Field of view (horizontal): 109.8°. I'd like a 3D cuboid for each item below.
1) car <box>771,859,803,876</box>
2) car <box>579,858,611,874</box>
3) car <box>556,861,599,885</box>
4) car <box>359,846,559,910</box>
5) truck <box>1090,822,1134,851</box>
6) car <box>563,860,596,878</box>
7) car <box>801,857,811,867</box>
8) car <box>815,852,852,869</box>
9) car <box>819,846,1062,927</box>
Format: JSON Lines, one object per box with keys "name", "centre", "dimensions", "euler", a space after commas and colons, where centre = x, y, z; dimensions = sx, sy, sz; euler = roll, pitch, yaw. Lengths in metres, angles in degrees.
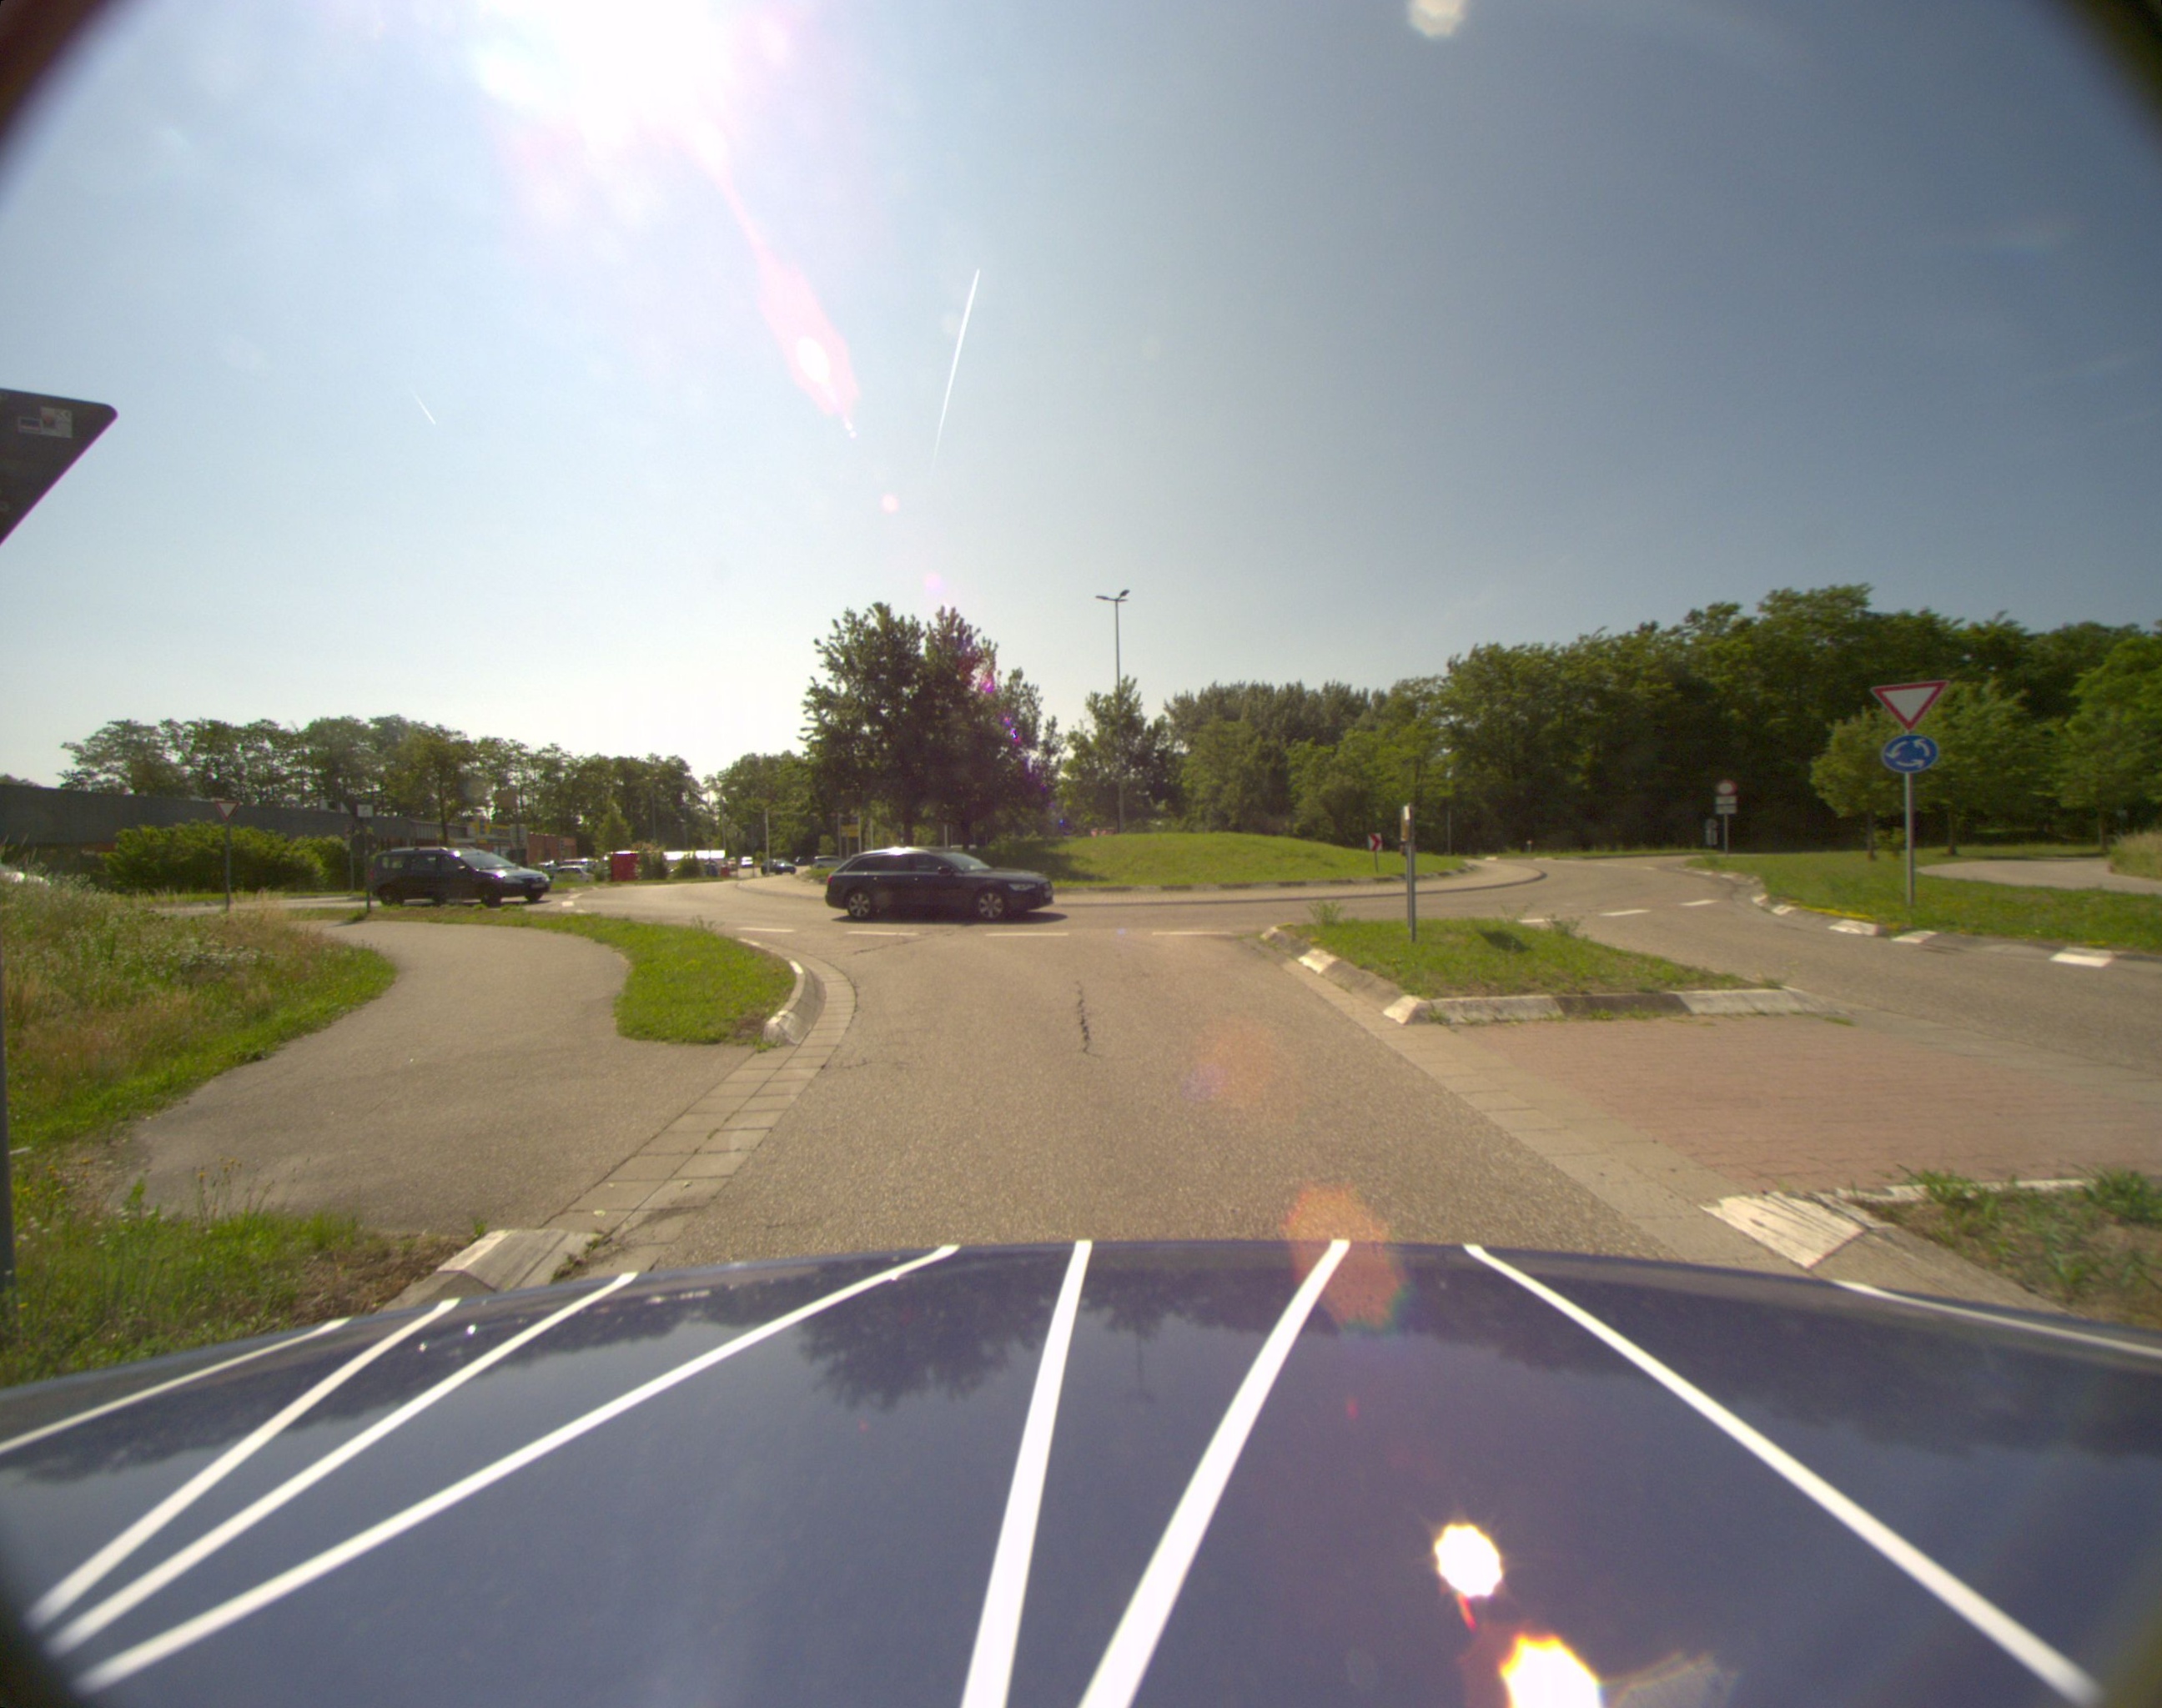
{"name": "car", "centre": [-29.878, 1.363, 77.096], "dimensions": [1.666, 1.644, 4.197], "euler": [-3, 2, -41]}
{"name": "car", "centre": [-44.958, 1.075, 70.318], "dimensions": [1.521, 1.311, 3.993], "euler": [-2, 1, -19]}
{"name": "car", "centre": [-30.208, 1.119, 45.632], "dimensions": [1.454, 1.281, 2.826], "euler": [-2, 1, -20]}
{"name": "car", "centre": [-17.668, 0.662, 21.696], "dimensions": [4.347, 1.647, 1.707], "euler": [-1, 3, 4]}
{"name": "truck", "centre": [3.339, -1.880, 79.423], "dimensions": [2.476, 2.815, 9.065], "euler": [-1, 1, 16]}
{"name": "car", "centre": [-39.406, 1.174, 59.761], "dimensions": [1.454, 1.281, 2.826], "euler": [-2, 1, -20]}
{"name": "car", "centre": [-45.702, 1.311, 126.218], "dimensions": [1.516, 1.618, 3.670], "euler": [-2, 1, -20]}
{"name": "car", "centre": [-28.963, 0.748, 88.853], "dimensions": [4.004, 1.784, 1.607], "euler": [-2, 1, -22]}
{"name": "car", "centre": [-2.921, 0.650, 16.052], "dimensions": [4.670, 1.482, 1.815], "euler": [-1, 3, 15]}
